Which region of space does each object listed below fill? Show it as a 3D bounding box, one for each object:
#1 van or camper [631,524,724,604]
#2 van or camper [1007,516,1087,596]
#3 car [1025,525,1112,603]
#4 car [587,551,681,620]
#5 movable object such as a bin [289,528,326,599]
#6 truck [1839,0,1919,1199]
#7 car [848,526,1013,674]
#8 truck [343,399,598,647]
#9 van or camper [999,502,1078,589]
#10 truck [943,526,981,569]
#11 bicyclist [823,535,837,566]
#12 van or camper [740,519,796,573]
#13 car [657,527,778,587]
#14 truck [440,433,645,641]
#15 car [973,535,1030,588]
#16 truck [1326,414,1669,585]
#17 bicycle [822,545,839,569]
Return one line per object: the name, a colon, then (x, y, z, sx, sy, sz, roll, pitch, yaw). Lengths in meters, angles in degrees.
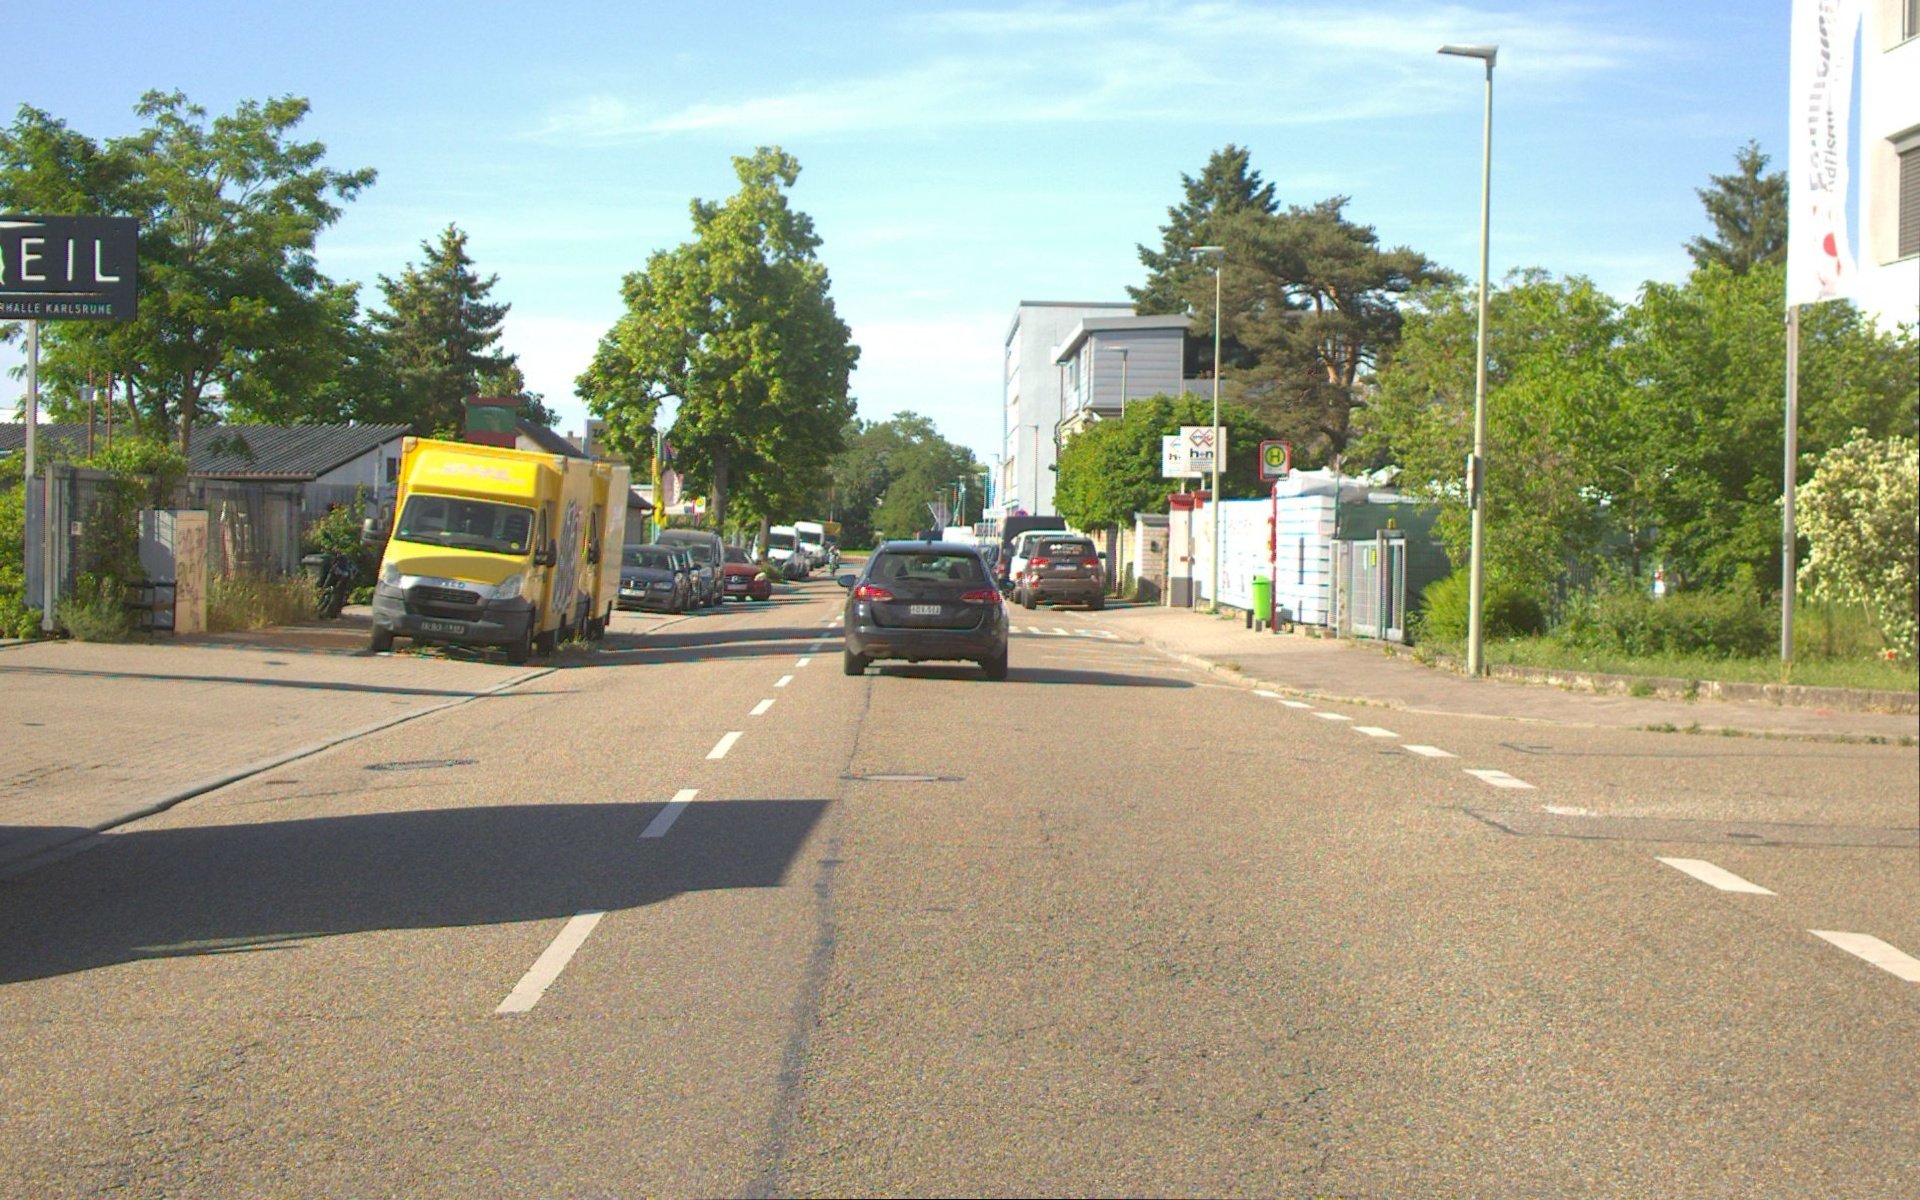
van or camper: (-6.900, -0.873, 84.257, 1.891, 1.919, 4.266, 0, 0, 0)
van or camper: (2.253, -1.168, 89.939, 1.919, 2.012, 4.080, 1, 1, -1)
car: (2.629, -0.885, 84.154, 1.919, 1.819, 4.080, 1, 1, -1)
car: (-7.035, -0.335, 74.457, 1.756, 1.398, 4.558, 1, 1, -2)
movable object such as a bin: (-12.459, -0.701, 65.613, 0.585, 1.335, 0.549, 1, 1, -1)
truck: (3.312, 0.121, 4.468, 2.402, 2.926, 7.017, -1, 1, -1)
car: (-0.297, -0.038, 37.957, 1.711, 1.527, 3.687, 1, 1, 0)
truck: (-6.431, -1.004, 45.986, 2.402, 2.972, 6.374, 3, 1, 0)
van or camper: (2.146, -1.506, 95.050, 1.993, 2.302, 4.000, 1, 1, -1)
truck: (0.099, -2.894, 189.274, 1.993, 2.280, 6.956, 1, 1, -1)
bicyclist: (-6.438, -2.458, 170.179, 0.695, 1.534, 0.635, 1, 1, -3)
van or camper: (-8.732, -2.475, 155.884, 2.323, 2.354, 6.529, 1, 1, -5)
car: (-6.415, -1.151, 90.598, 1.875, 1.480, 4.045, -1, 2, -25)
truck: (-6.341, -0.974, 53.017, 2.192, 2.892, 6.439, 3, 1, 0)
car: (1.463, -1.372, 122.636, 1.919, 1.819, 4.080, 1, 1, -1)
truck: (12.507, -2.316, 80.334, 7.372, 3.758, 2.833, 1, 1, -5)
bicycle: (-6.411, -2.145, 170.171, 0.829, 1.149, 2.941, 1, 1, -2)
